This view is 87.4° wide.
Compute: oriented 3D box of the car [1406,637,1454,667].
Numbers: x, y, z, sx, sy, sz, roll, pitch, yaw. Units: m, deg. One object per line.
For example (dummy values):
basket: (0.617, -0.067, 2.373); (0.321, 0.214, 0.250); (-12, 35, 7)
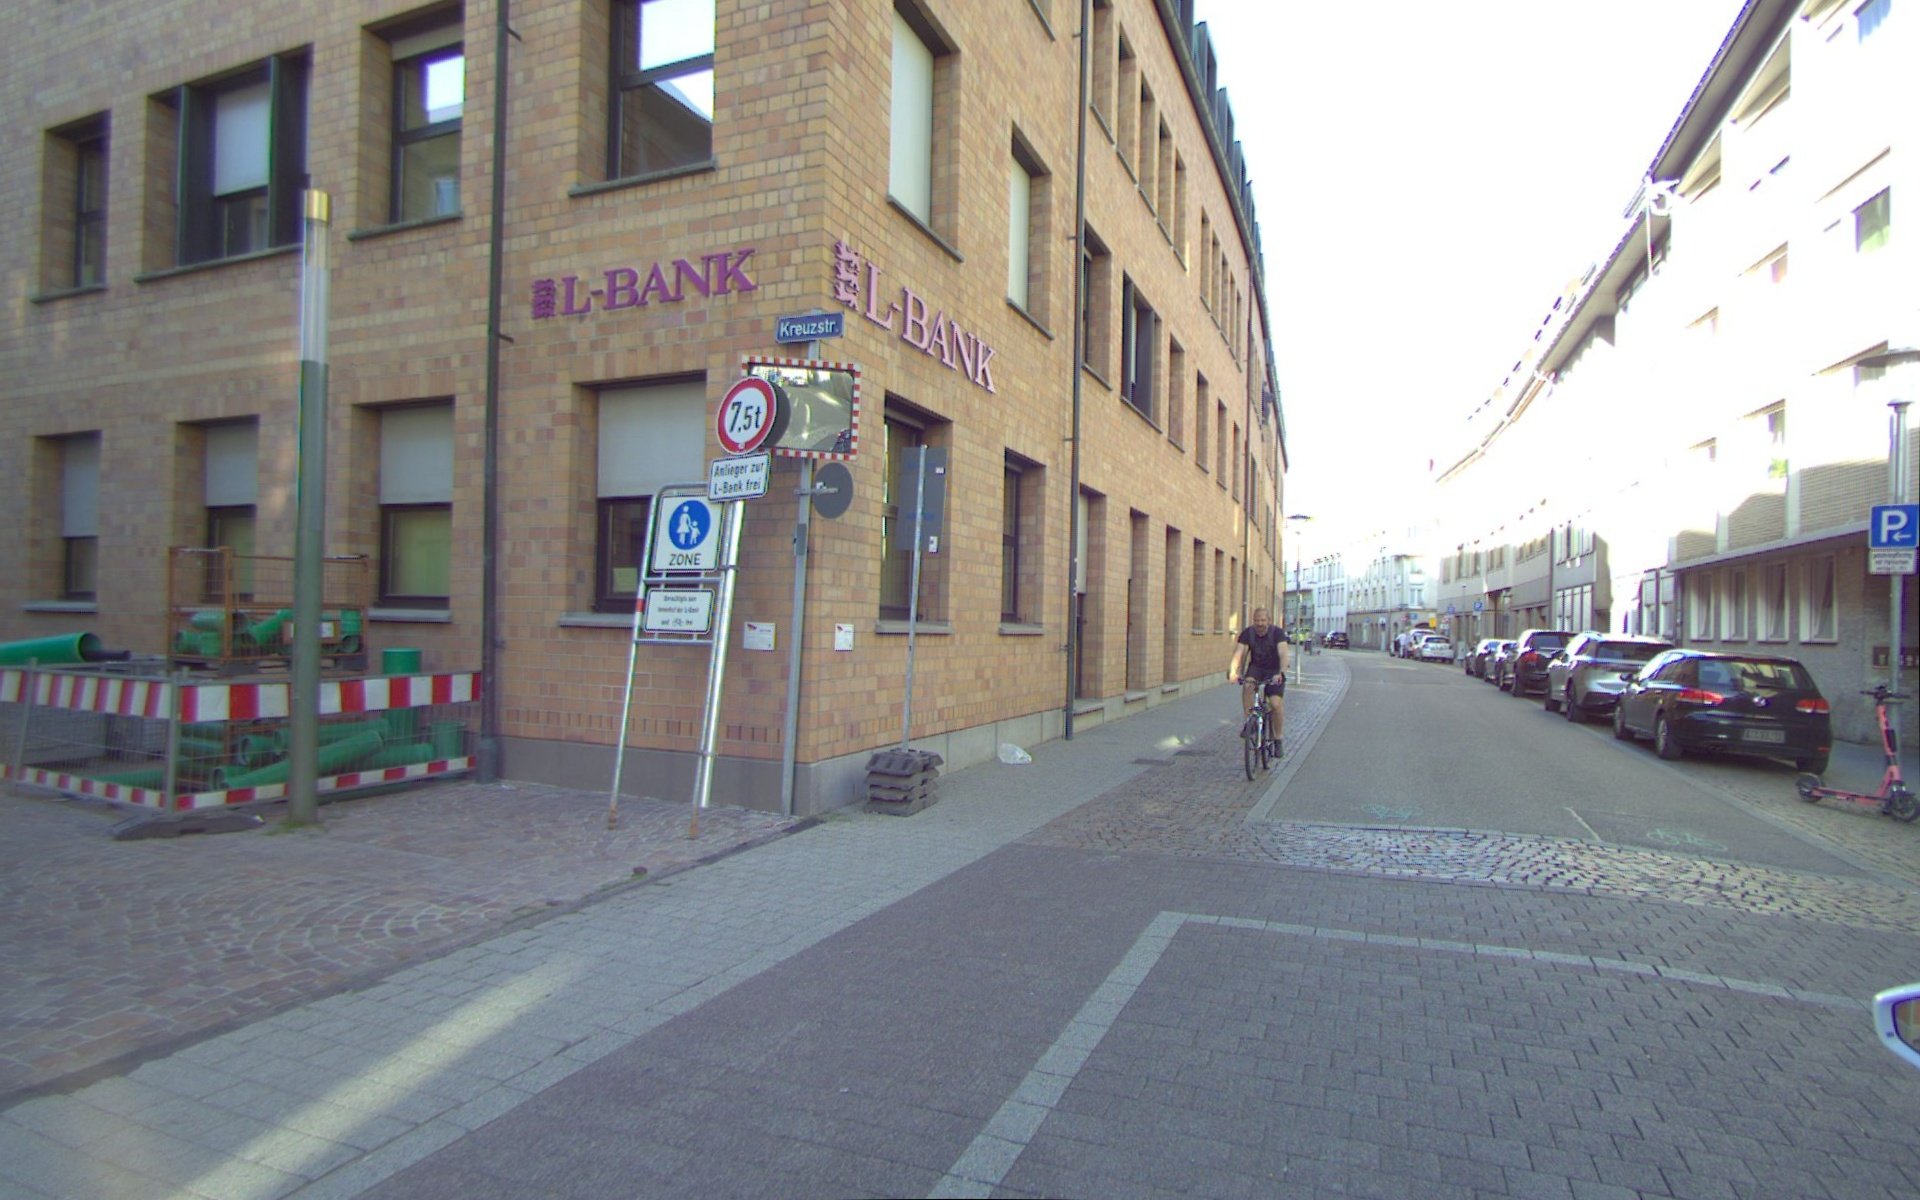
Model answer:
car: (26.799, 2.937, 57.394); (1.809, 1.497, 4.170); (4, -1, 17)

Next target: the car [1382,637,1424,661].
car: (30.417, 3.357, 69.098); (1.856, 1.538, 4.066); (2, -1, 13)

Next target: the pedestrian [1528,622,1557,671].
pedestrian: (20.889, 1.666, 36.044); (0.776, 1.744, 0.746); (-1, -2, 22)

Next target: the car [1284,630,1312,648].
car: (38.712, 4.448, 115.165); (2.018, 2.040, 4.177); (2, -1, 5)

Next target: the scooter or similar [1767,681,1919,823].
scooter or similar: (8.715, 1.441, 9.832); (0.485, 1.210, 1.306); (2, -1, -5)

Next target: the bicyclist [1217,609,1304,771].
bicyclist: (3.265, 0.956, 10.879); (0.652, 1.663, 0.924); (-3, -3, 29)

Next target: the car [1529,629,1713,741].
car: (12.466, 1.500, 19.302); (1.961, 1.724, 4.842); (3, 0, 22)

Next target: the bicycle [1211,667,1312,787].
bicycle: (3.297, 1.326, 10.902); (0.641, 1.146, 1.733); (-3, -3, 29)

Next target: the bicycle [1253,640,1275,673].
bicycle: (11.680, 2.153, 38.649); (0.620, 1.178, 1.805); (4, 0, 13)

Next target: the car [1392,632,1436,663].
car: (28.628, 2.973, 63.434); (1.800, 1.814, 5.216); (2, -1, 17)

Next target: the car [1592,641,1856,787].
car: (10.512, 1.436, 14.249); (1.794, 1.524, 4.598); (4, 0, 23)

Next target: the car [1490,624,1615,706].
car: (15.260, 1.609, 26.156); (2.069, 1.809, 5.050); (2, -1, 23)

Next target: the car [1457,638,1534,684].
car: (19.866, 2.195, 37.457); (1.863, 1.472, 5.225); (3, -1, 21)

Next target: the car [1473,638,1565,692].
car: (17.618, 1.989, 31.862); (1.778, 1.431, 4.790); (3, -1, 21)

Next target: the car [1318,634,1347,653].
car: (36.547, 4.279, 98.648); (1.934, 1.714, 4.104); (3, -1, 10)

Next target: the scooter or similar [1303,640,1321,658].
scooter or similar: (24.273, 3.358, 69.272); (0.690, 1.233, 1.348); (0, -2, 45)
